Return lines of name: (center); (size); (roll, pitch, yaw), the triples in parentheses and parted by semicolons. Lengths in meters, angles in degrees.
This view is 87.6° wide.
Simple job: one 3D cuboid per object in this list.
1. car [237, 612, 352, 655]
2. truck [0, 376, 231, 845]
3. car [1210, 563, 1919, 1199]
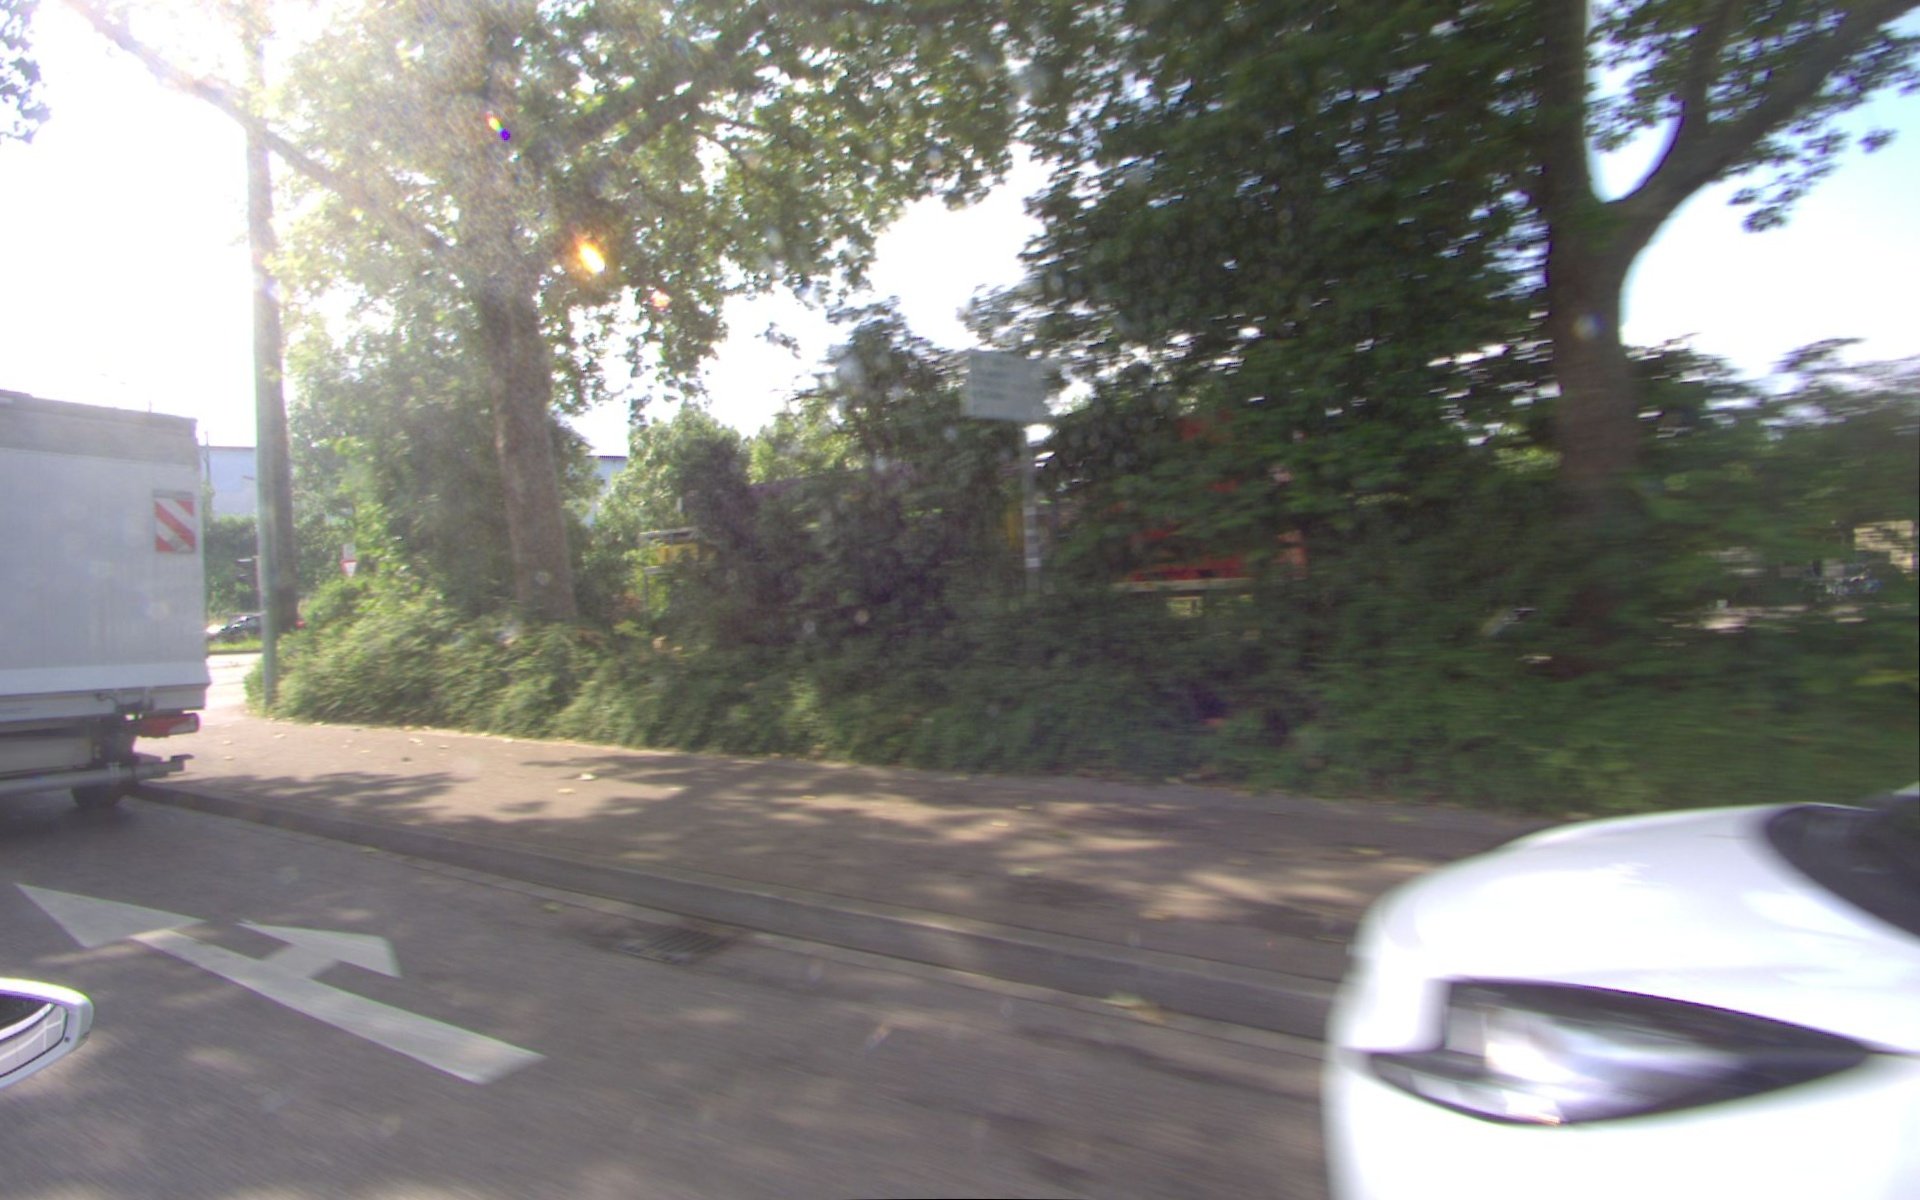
car: (-29.552, 1.479, 44.607); (3.959, 1.772, 1.970); (-1, 0, -24)
truck: (-8.865, 0.136, 8.516); (5.945, 3.161, 2.441); (-1, -1, 34)
car: (2.390, 0.705, 1.191); (3.741, 1.498, 1.743); (-1, -2, 29)
